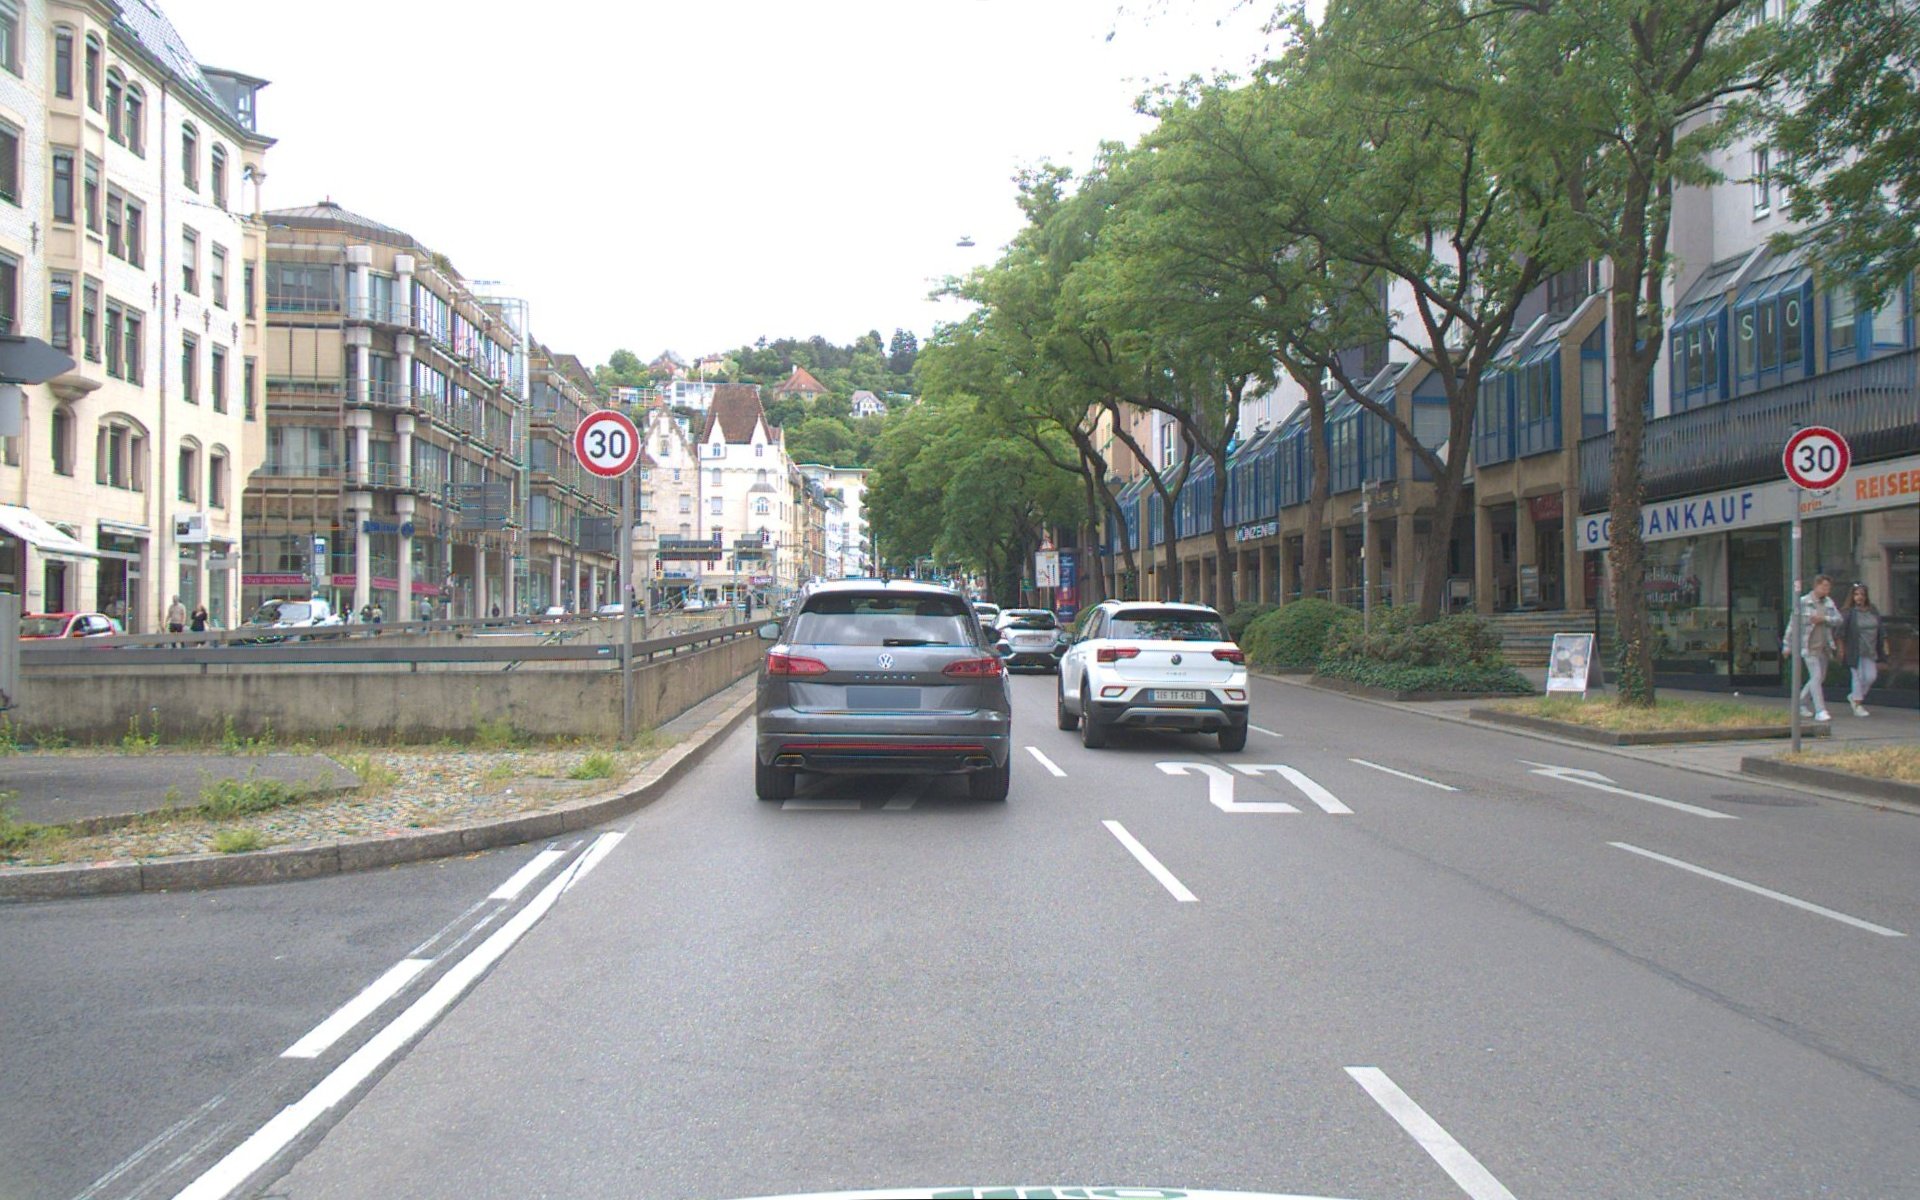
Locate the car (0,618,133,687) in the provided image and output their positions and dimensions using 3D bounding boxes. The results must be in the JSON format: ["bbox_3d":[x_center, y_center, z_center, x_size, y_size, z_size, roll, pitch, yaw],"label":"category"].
[{"bbox_3d":[-20.473,1.150,37.581,1.752,1.430,3.580,-1,0,-4],"label":"car"}]

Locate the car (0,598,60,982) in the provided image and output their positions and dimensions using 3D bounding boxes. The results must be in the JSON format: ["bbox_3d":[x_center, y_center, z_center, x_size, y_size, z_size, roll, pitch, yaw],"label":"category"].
[{"bbox_3d":[-5.980,0.751,6.005,4.454,1.484,1.882,-1,0,5],"label":"car"}]

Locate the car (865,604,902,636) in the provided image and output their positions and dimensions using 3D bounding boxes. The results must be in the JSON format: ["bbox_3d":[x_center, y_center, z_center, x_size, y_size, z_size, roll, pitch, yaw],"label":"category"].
[{"bbox_3d":[-4.123,1.056,88.249,1.796,1.594,3.763,-1,0,-5],"label":"car"}]

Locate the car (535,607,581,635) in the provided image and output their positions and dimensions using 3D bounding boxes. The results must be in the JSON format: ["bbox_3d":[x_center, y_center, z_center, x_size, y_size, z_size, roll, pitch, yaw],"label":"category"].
[{"bbox_3d":[-22.562,1.144,92.990,1.956,1.490,4.878,-1,0,-7],"label":"car"}]

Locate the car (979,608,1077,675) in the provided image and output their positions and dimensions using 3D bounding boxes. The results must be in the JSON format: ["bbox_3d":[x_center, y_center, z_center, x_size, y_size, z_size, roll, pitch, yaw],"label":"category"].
[{"bbox_3d":[1.508,0.922,38.242,1.797,1.457,4.143,0,0,-4],"label":"car"}]

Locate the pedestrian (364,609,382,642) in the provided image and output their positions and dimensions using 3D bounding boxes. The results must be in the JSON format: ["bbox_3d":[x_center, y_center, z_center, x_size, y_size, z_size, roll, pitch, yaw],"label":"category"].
[{"bbox_3d":[-28.278,1.213,79.710,0.687,1.571,0.845,0,0,-11],"label":"pedestrian"}]

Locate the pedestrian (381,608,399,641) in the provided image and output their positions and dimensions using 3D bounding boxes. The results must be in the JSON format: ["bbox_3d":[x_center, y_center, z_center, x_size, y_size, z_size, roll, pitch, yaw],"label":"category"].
[{"bbox_3d":[-27.543,1.200,79.862,0.687,1.571,0.845,0,0,-11],"label":"pedestrian"}]

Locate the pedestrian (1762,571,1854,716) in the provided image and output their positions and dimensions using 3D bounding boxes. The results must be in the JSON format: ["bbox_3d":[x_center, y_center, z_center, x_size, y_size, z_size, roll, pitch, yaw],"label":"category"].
[{"bbox_3d":[10.791,0.540,21.066,0.584,1.784,0.939,-1,0,-8],"label":"pedestrian"}]

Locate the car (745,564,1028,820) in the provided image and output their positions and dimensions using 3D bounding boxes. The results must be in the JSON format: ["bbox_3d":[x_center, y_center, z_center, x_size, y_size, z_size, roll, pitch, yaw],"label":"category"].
[{"bbox_3d":[-0.621,0.636,13.669,1.931,1.725,4.222,-2,0,-3],"label":"car"}]

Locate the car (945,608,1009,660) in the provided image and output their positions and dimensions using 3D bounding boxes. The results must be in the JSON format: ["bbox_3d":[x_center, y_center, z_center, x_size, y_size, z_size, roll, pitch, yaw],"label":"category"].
[{"bbox_3d":[0.509,1.044,52.346,1.795,1.544,3.765,-1,0,-3],"label":"car"}]

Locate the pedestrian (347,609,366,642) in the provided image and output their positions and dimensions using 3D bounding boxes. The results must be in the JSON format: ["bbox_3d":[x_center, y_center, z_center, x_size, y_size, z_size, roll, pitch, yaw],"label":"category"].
[{"bbox_3d":[-29.020,1.231,79.517,0.687,1.571,0.845,0,0,-11],"label":"pedestrian"}]

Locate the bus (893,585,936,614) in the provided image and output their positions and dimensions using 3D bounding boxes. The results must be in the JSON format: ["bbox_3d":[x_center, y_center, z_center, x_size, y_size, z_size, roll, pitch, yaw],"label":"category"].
[{"bbox_3d":[-5.905,-0.081,218.494,3.768,3.594,17.255,-1,0,5],"label":"bus"}]

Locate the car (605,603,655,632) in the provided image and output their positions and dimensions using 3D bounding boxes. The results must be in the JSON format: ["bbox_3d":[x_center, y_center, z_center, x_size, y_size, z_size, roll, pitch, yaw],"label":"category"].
[{"bbox_3d":[-19.363,1.018,97.242,1.953,1.613,4.886,-1,0,-1],"label":"car"}]

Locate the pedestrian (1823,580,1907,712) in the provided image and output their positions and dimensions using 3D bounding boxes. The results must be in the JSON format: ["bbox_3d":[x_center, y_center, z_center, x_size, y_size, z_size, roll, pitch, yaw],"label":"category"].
[{"bbox_3d":[11.624,0.578,21.258,0.584,1.657,0.756,-1,0,-8],"label":"pedestrian"}]

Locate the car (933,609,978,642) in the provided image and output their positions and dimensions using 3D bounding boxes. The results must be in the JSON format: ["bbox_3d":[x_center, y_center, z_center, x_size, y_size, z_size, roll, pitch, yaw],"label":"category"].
[{"bbox_3d":[-0.226,1.135,74.229,1.796,1.387,3.764,-1,0,-4],"label":"car"}]

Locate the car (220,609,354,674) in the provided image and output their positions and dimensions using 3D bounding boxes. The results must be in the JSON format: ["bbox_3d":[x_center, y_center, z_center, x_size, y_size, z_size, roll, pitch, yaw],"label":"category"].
[{"bbox_3d":[-17.236,1.027,42.574,1.881,1.554,4.537,0,0,-5],"label":"car"}]

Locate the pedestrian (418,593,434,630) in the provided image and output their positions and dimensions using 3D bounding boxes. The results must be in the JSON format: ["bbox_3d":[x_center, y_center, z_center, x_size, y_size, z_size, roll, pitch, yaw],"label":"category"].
[{"bbox_3d":[-27.063,0.572,83.828,0.522,1.824,0.694,4,-1,-2],"label":"pedestrian"}]

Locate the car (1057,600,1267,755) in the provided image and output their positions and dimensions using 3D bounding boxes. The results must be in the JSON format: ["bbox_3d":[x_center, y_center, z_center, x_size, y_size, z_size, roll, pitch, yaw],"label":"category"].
[{"bbox_3d":[2.182,0.808,18.876,1.761,1.572,3.933,1,0,-2],"label":"car"}]

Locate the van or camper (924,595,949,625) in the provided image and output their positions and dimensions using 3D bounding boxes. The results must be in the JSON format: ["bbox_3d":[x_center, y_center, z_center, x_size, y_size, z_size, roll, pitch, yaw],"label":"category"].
[{"bbox_3d":[-2.654,1.103,186.641,2.575,3.234,5.799,-1,0,-3],"label":"van or camper"}]

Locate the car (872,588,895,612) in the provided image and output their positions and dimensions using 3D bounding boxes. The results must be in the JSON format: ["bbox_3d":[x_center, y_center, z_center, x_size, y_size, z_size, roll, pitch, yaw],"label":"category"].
[{"bbox_3d":[-6.449,-0.004,139.233,1.795,1.907,4.869,-1,0,-1],"label":"car"}]
